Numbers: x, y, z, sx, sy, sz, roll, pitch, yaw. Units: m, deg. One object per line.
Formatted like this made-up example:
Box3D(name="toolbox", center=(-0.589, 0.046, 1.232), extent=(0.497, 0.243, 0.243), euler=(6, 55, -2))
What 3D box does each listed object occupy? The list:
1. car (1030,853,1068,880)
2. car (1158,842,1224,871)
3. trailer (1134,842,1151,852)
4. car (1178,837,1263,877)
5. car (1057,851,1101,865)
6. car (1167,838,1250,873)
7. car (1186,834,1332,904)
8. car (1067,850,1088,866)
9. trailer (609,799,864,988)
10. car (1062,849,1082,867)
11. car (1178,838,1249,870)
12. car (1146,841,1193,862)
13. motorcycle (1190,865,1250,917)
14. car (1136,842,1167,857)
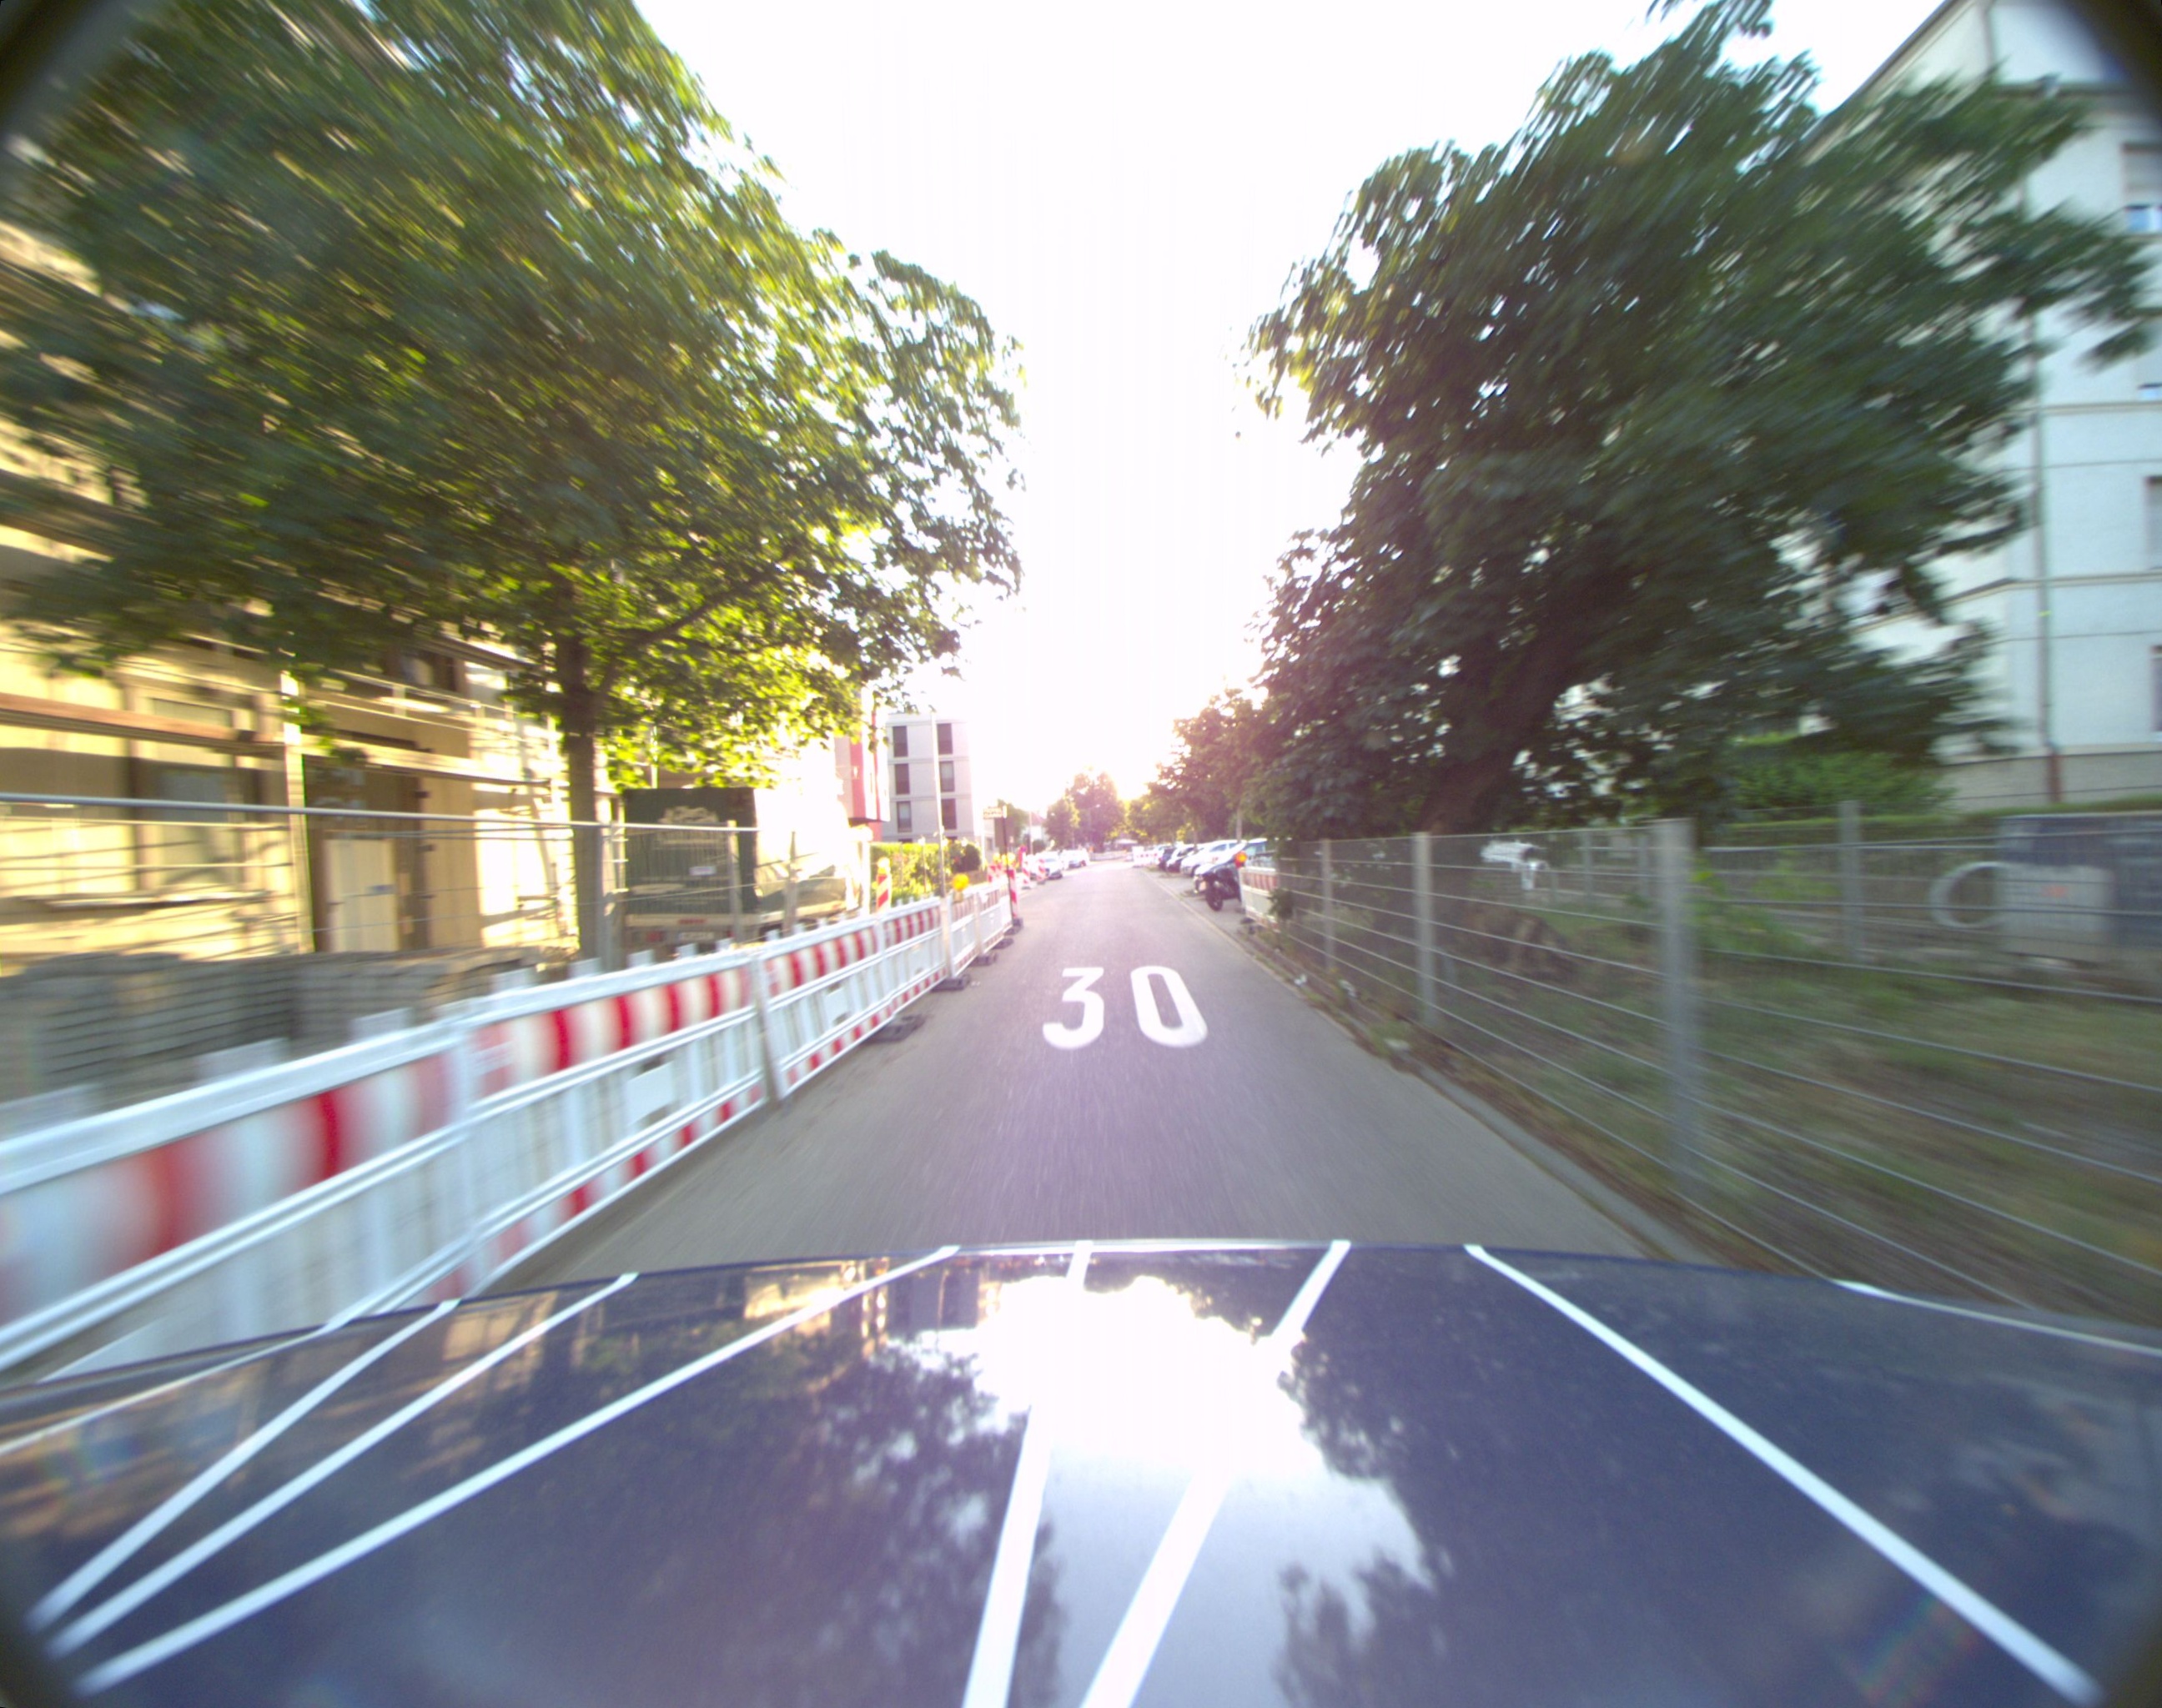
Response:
Box3D(name="car", center=(-1.805, 0.664, 43.960), extent=(1.780, 1.388, 4.108), euler=(-3, 0, 2))
Box3D(name="car", center=(6.469, 0.149, 45.087), extent=(3.685, 1.437, 1.728), euler=(-4, 1, 4))
Box3D(name="trailer", center=(15.024, -1.662, 185.616), extent=(3.682, 2.056, 2.002), euler=(-4, 0, 16))
Box3D(name="car", center=(6.459, 0.138, 35.373), extent=(3.484, 1.557, 1.727), euler=(-4, 1, -2))
Box3D(name="car", center=(-0.159, 0.478, 85.675), extent=(4.829, 1.390, 1.770), euler=(-2, 0, 3))
Box3D(name="car", center=(6.549, 0.079, 39.354), extent=(3.986, 1.480, 1.728), euler=(-4, 1, 5))
Box3D(name="car", center=(4.960, 0.407, 21.543), extent=(3.632, 1.548, 1.693), euler=(-6, 0, 2))
Box3D(name="car", center=(-0.329, 0.404, 77.010), extent=(1.744, 1.461, 3.759), euler=(-3, 0, 3))
Box3D(name="trailer", center=(-5.367, 0.550, 12.595), extent=(1.998, 2.525, 4.187), euler=(-3, 0, 3))
Box3D(name="car", center=(-0.786, 0.366, 66.754), extent=(1.618, 1.461, 3.997), euler=(-3, 0, 1))
Box3D(name="car", center=(7.334, 0.009, 42.374), extent=(3.685, 1.476, 1.728), euler=(-4, 1, 5))
Box3D(name="car", center=(7.495, -0.196, 64.309), extent=(3.709, 1.475, 1.728), euler=(-5, 0, 1))
Box3D(name="motorcycle", center=(3.352, 0.855, 18.116), extent=(0.538, 1.015, 2.215), euler=(-6, 0, 32))
Box3D(name="car", center=(11.415, -0.756, 123.156), extent=(4.784, 2.058, 2.001), euler=(-3, 0, 7))
